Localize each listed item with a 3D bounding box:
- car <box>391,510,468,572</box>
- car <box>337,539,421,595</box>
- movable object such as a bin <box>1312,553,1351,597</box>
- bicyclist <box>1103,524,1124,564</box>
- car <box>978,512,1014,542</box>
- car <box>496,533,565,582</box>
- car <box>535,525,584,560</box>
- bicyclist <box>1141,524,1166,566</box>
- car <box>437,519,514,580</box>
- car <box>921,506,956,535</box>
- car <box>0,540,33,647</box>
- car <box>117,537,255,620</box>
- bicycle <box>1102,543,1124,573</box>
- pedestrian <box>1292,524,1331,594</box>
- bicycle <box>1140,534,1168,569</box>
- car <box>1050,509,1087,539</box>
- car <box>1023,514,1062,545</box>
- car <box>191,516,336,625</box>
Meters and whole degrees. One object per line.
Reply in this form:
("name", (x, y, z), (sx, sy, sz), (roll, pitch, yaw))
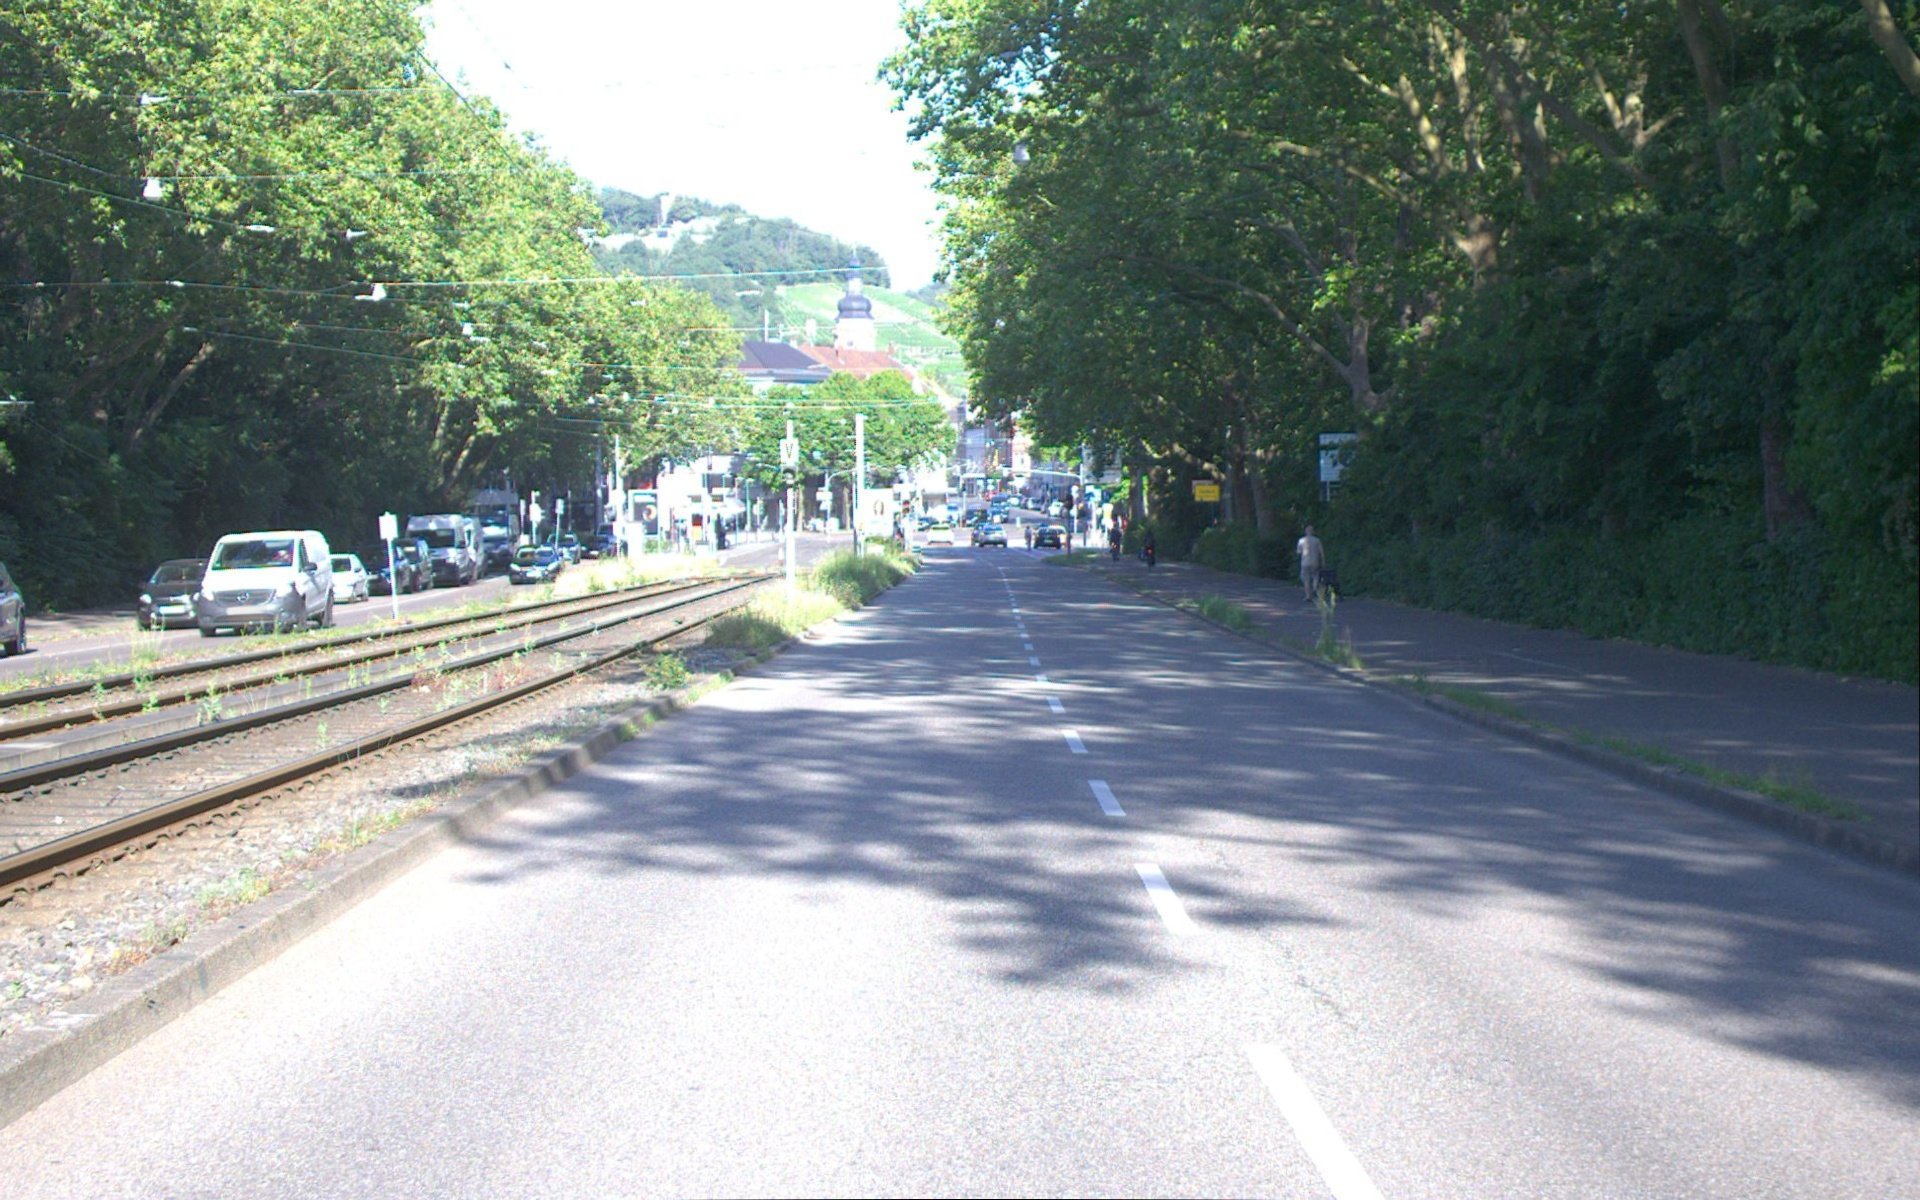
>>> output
("car", (-19.159, -2.134, 124.418), (1.993, 2.156, 5.815), (-1, 1, -2))
("car", (-18.551, -1.068, 109.996), (1.993, 1.691, 4.745), (-1, 1, -2))
("movable object such as a bin", (8.130, -0.558, 75.276), (0.804, 0.944, 0.656), (-1, 1, 4))
("bicyclist", (6.918, -2.527, 155.219), (0.887, 1.768, 1.222), (-1, 1, 0))
("car", (2.440, -4.950, 233.708), (2.394, 1.993, 5.306), (-1, 1, 0))
("car", (-15.374, -1.528, 123.375), (1.993, 1.691, 4.745), (-1, 1, -2))
("car", (-19.962, -2.867, 171.533), (1.993, 1.691, 4.745), (-1, 1, -2))
("bicyclist", (7.511, -2.137, 133.405), (0.887, 1.633, 1.164), (-1, 1, 0))
("car", (-20.682, -2.167, 147.044), (2.394, 2.515, 5.900), (-1, 1, 0))
("car", (-1.506, -5.607, 243.356), (2.394, 1.993, 5.306), (-1, 1, 0))
("car", (-15.925, -0.084, 54.334), (1.741, 1.631, 4.001), (-2, 2, -5))
("car", (-16.640, -0.487, 74.125), (1.993, 1.691, 4.745), (-1, 1, -2))
("bicycle", (6.914, -1.918, 155.320), (0.887, 1.316, 2.640), (-1, 1, 0))
("pedestrian", (7.785, -0.916, 76.101), (0.804, 1.540, 0.814), (-1, 1, 4))
("bicycle", (7.515, -1.900, 133.311), (0.887, 1.316, 2.640), (-1, 1, 0))
("car", (7.508, -5.264, 238.327), (2.394, 1.993, 5.306), (-1, 1, 0))
("car", (5.480, -4.716, 229.067), (2.394, 1.993, 5.306), (-1, 1, 0))
("car", (-13.049, -0.579, 64.682), (1.993, 1.838, 5.303), (-3, 1, -5))
